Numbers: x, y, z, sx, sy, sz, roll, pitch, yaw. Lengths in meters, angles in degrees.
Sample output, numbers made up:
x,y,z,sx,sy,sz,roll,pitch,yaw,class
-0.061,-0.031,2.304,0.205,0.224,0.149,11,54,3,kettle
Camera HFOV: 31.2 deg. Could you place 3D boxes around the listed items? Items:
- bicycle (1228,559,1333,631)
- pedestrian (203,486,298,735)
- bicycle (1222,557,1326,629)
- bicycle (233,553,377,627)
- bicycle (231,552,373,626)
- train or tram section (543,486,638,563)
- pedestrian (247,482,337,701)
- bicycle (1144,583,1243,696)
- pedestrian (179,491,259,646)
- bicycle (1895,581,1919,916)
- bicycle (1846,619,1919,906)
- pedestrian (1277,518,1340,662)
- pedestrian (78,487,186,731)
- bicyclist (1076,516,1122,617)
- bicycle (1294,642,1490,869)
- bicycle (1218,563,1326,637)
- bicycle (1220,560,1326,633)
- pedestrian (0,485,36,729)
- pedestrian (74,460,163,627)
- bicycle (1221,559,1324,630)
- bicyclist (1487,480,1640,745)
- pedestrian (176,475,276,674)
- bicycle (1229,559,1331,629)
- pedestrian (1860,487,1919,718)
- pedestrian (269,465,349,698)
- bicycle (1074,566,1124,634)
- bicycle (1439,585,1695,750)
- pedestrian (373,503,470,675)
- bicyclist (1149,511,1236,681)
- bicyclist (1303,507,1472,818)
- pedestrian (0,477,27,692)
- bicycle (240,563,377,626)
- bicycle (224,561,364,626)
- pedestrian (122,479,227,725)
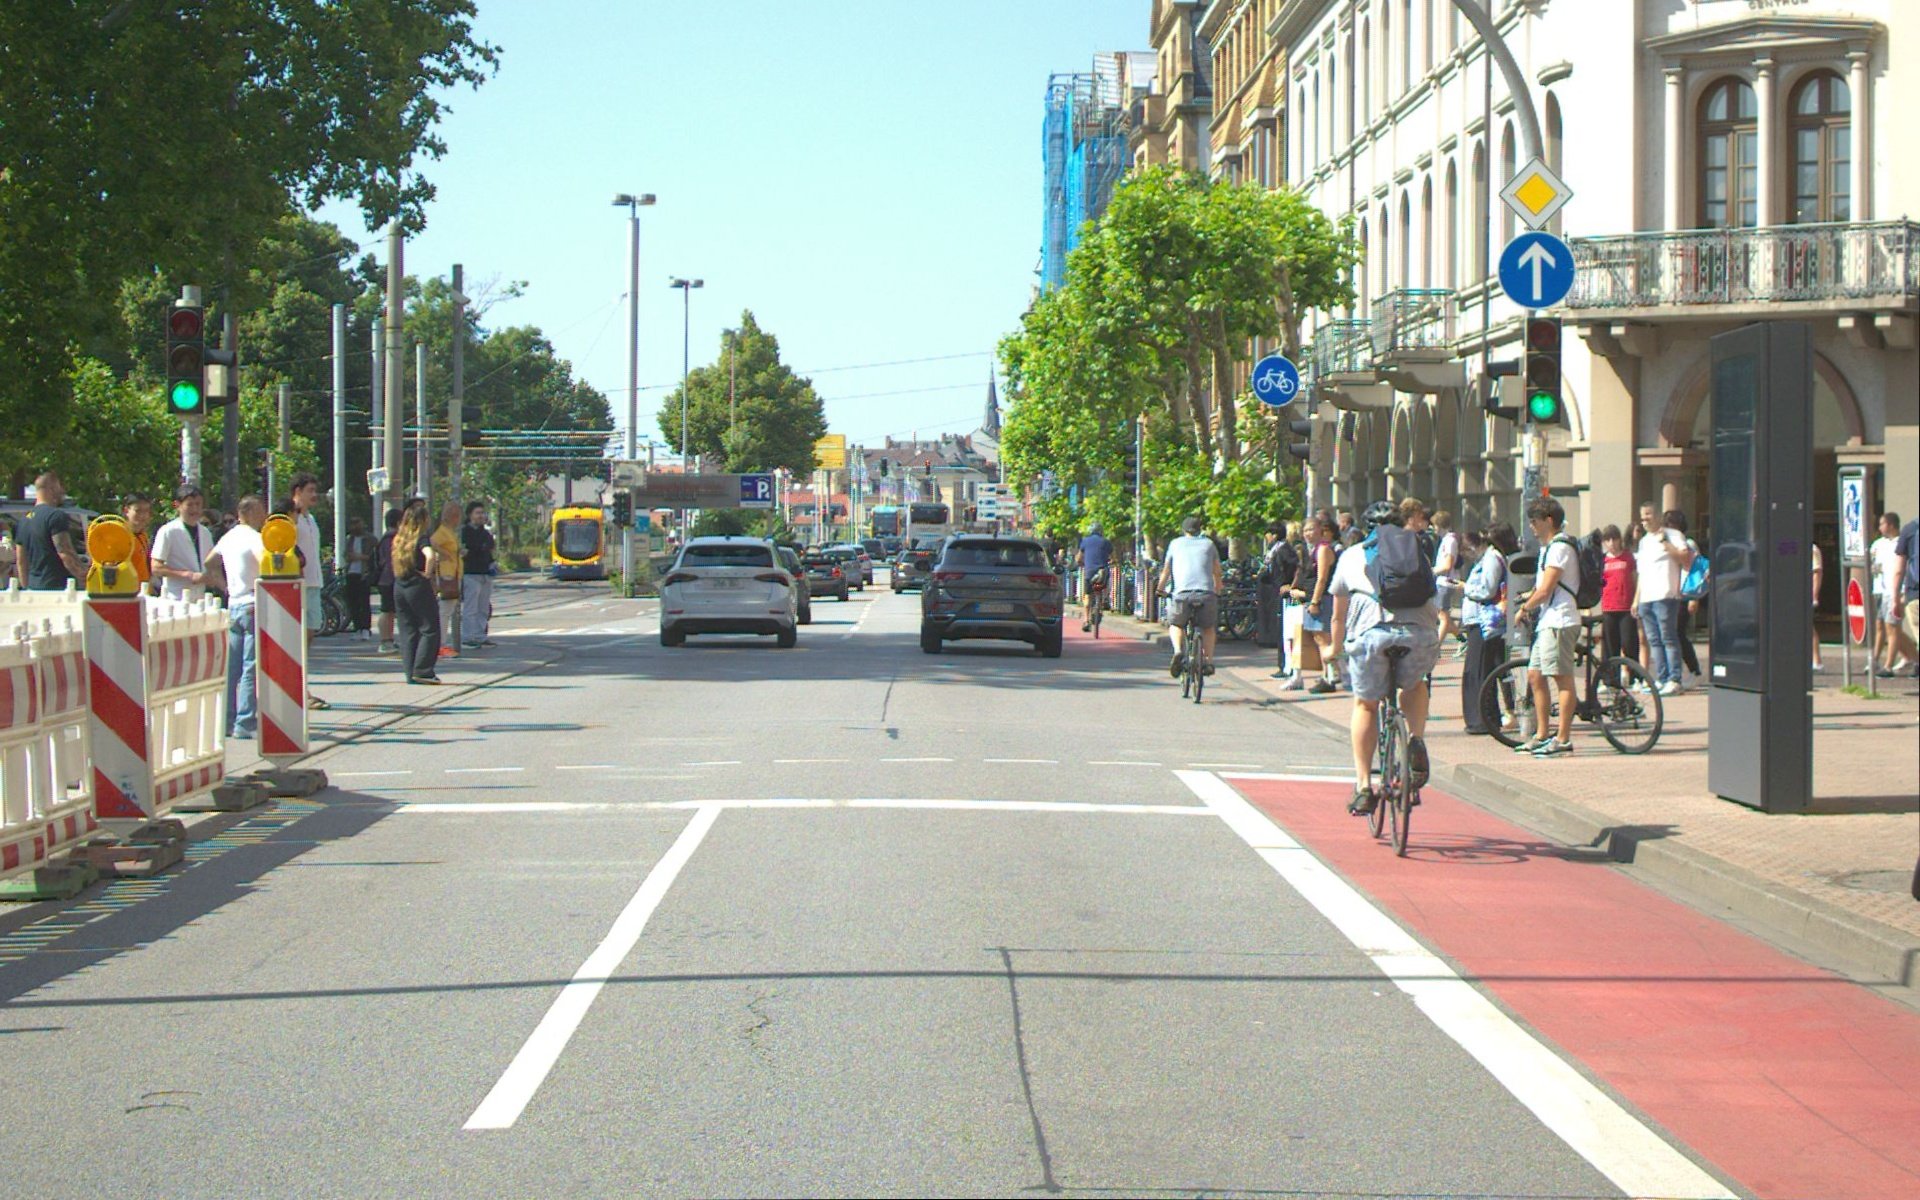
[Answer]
x,y,z,sx,sy,sz,roll,pitch,yaw,class
4.473,-0.066,48.048,1.420,0.976,0.445,-1,2,0,bicycle
-5.021,0.070,24.329,0.429,1.734,0.606,2,1,-32,pedestrian
4.432,-0.098,48.502,1.420,0.976,0.445,-1,2,0,bicycle
-9.715,-0.148,50.973,2.081,1.086,0.685,0,0,-12,bicycle
-9.878,-0.170,51.624,2.081,1.086,0.685,0,0,-12,bicycle
-16.841,-3.454,157.238,2.613,3.336,11.002,1,1,3,train or tram section
-5.429,-0.073,27.960,0.576,1.752,0.638,1,1,1,pedestrian
2.249,0.368,33.375,0.774,1.002,2.330,0,2,0,bicycle
-8.283,-0.350,38.446,0.577,1.705,0.605,2,1,26,pedestrian
4.585,0.572,13.027,1.932,1.253,0.705,0,1,-20,bicycle
4.550,0.643,13.909,1.781,1.118,0.563,0,1,-3,bicycle
4.127,-0.119,40.756,0.582,1.668,0.605,-3,1,-2,pedestrian
-5.910,0.063,24.529,0.539,1.712,0.606,2,1,-32,pedestrian
2.153,-0.518,53.253,0.647,1.545,0.817,1,1,-1,bicyclist
2.097,0.730,16.920,0.630,0.976,2.089,1,1,-1,bicycle
4.241,-0.006,46.764,1.420,0.976,0.445,-1,2,0,bicycle
4.327,-0.056,47.586,1.420,0.976,0.445,-1,2,0,bicycle
-7.649,0.044,26.924,0.576,1.884,0.653,2,1,1,pedestrian
-9.184,-0.620,37.541,0.633,1.804,0.730,1,1,20,pedestrian
4.448,-0.084,48.996,1.420,0.976,0.445,-1,2,0,bicycle
4.193,0.078,23.903,0.573,1.791,0.857,-3,2,-35,bicyclist
-6.929,-0.243,32.472,0.633,1.852,0.686,1,1,20,pedestrian
4.598,-0.093,49.431,1.420,0.976,0.401,-1,2,0,bicycle
7.643,0.029,27.271,0.657,1.784,1.233,1,-1,-1,pedestrian
-5.419,-0.156,28.620,0.532,1.912,0.560,1,1,1,pedestrian
2.136,-0.012,53.159,0.647,0.994,2.031,1,1,-1,bicycle
4.202,0.448,23.915,0.600,1.078,1.839,-3,2,-35,bicycle
-5.076,-0.107,32.400,0.633,1.590,0.686,1,1,20,pedestrian
2.248,-0.047,33.347,0.774,1.629,0.851,0,1,0,bicyclist
2.101,0.289,17.016,0.630,1.476,1.198,1,1,-1,bicyclist
-8.017,-0.139,28.030,0.584,1.716,0.789,1,3,1,pedestrian
-10.206,-0.096,53.851,2.081,0.976,0.685,0,0,-12,bicycle
-10.196,-0.104,52.627,2.081,0.976,0.685,0,0,-12,bicycle
-5.772,0.011,25.287,0.539,1.773,0.606,2,1,5,pedestrian
